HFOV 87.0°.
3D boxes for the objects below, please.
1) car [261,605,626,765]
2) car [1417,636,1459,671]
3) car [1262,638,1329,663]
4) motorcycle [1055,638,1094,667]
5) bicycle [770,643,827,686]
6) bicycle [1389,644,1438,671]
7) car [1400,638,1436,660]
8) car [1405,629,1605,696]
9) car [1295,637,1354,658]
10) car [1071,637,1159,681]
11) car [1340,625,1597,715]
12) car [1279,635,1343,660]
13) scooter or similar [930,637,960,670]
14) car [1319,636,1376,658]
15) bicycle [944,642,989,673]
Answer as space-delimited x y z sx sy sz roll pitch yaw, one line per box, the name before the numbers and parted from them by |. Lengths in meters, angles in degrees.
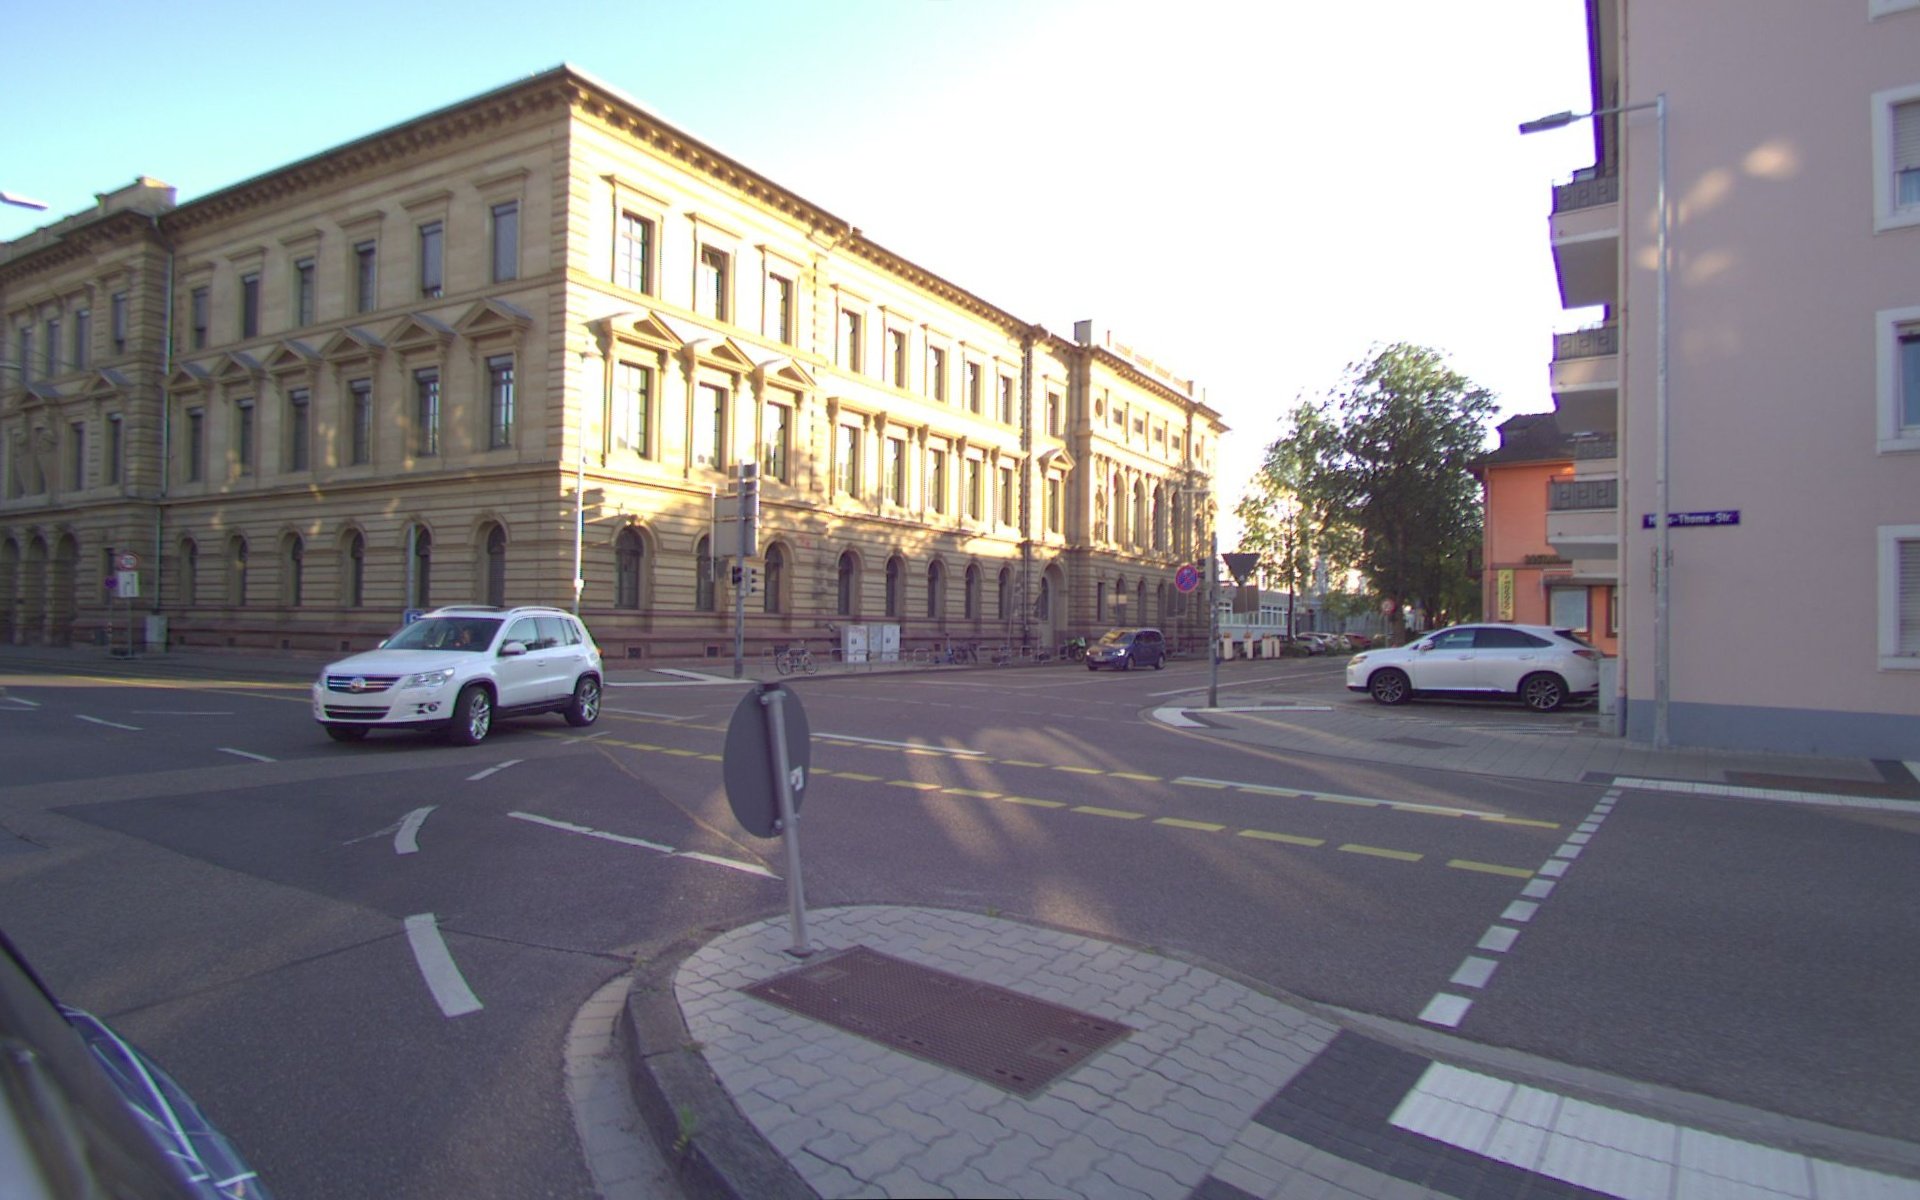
car | -6.359 0.979 13.197 1.936 1.690 4.530 0 -2 9
car | 26.056 2.899 55.118 1.825 1.773 5.002 -5 -4 27
car | 24.380 3.640 73.608 4.360 1.506 1.653 2 -1 34
motorcycle | 5.320 2.456 47.212 0.698 1.224 2.111 3 -1 -26
bicycle | -4.895 1.941 30.819 0.582 1.197 1.898 -1 -1 34
bicycle | 19.625 2.471 43.808 1.863 1.112 0.605 -1 -2 28
car | 32.997 3.527 72.862 1.783 1.470 4.373 0 -1 33
car | 14.166 1.619 26.394 4.419 1.617 1.894 -3 -4 33
car | 30.376 3.951 84.326 4.357 1.505 1.866 1 -1 32
car | 6.024 2.236 39.019 1.946 1.567 3.956 0 -3 32
car | 10.270 1.401 20.553 4.441 1.653 1.920 -3 -4 33
car | 27.466 3.678 79.243 4.357 1.655 2.032 2 -1 32
scooter or similar | -0.578 2.070 39.186 0.574 1.204 1.136 2 0 -38
car | 33.683 4.089 88.064 4.357 1.636 1.715 2 -1 32
bicycle | 0.269 2.280 40.313 0.828 1.143 1.922 3 -1 34
